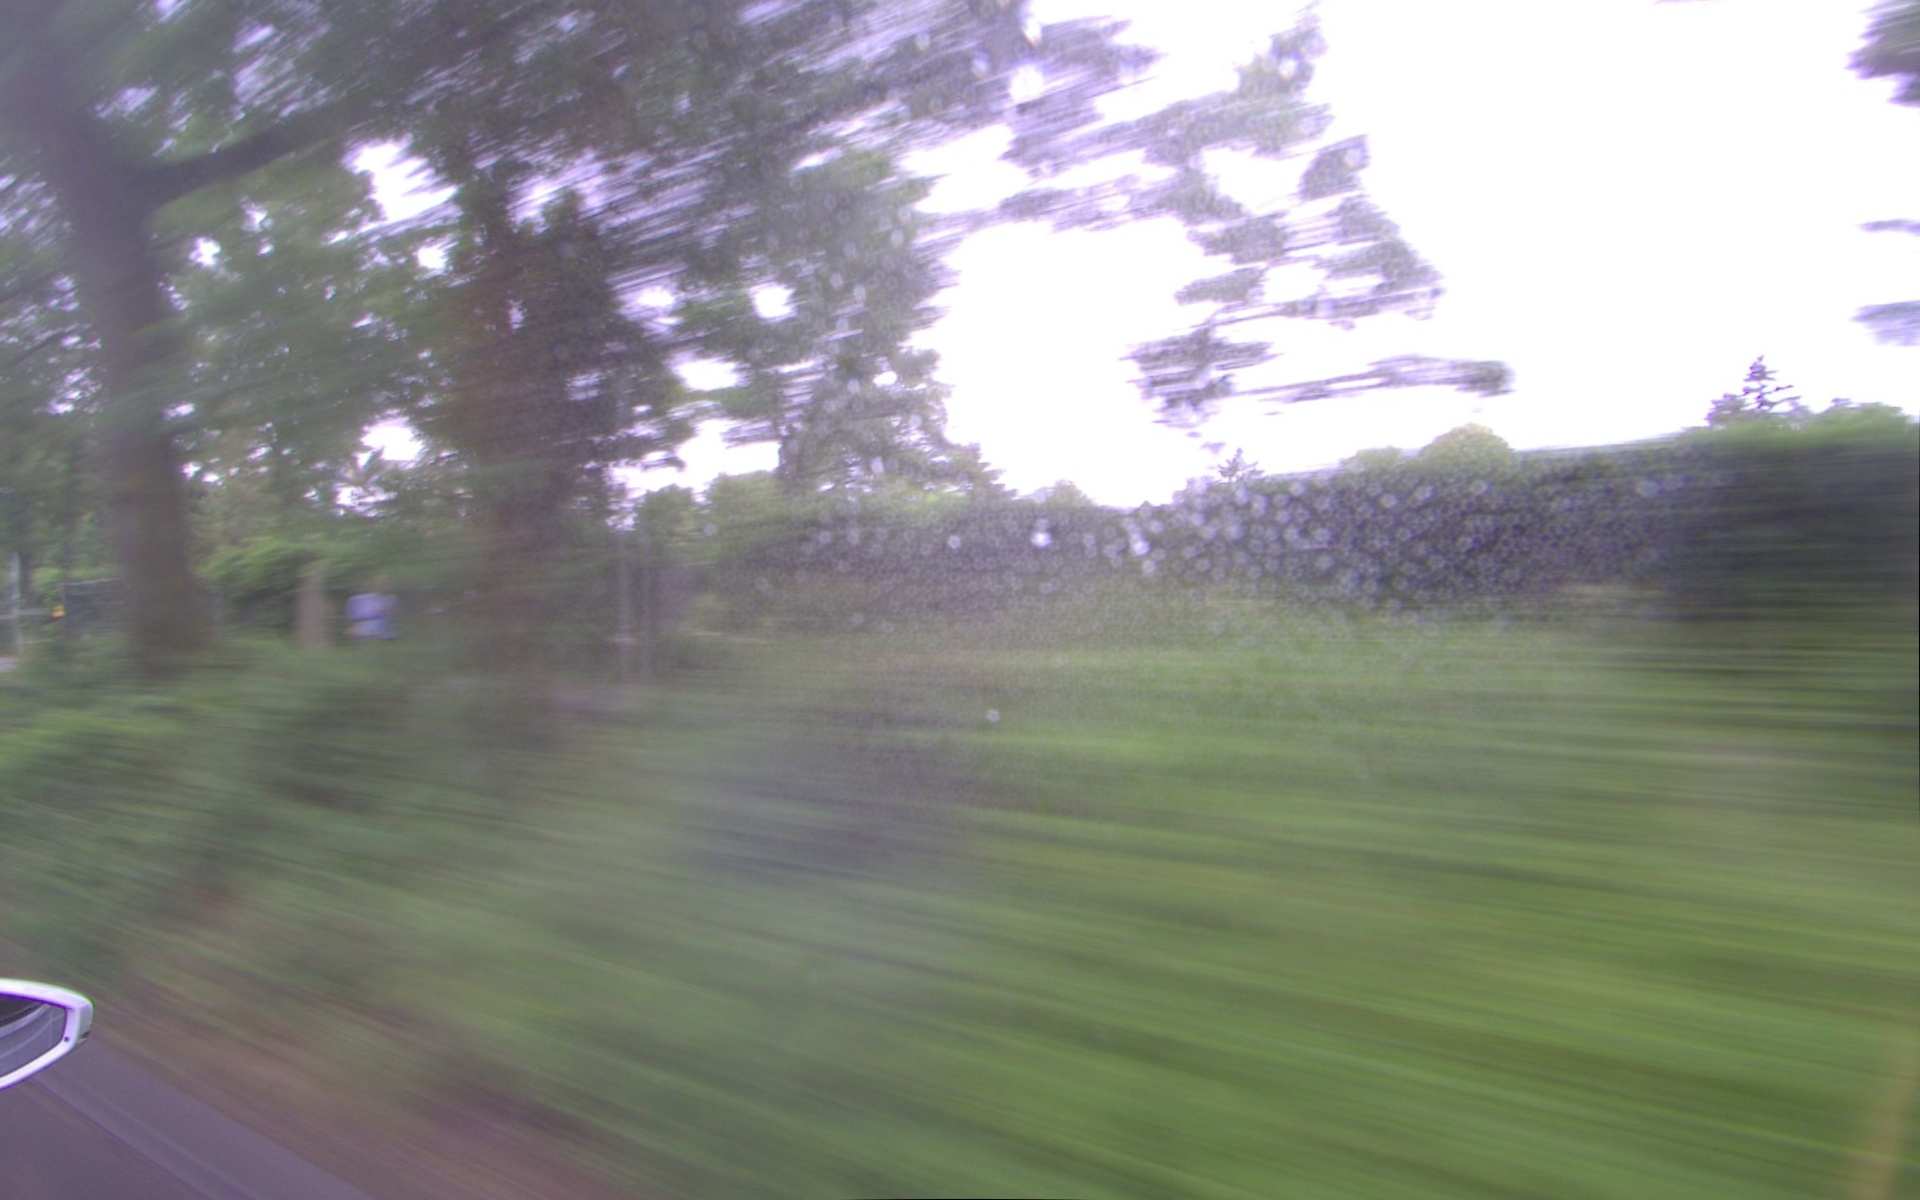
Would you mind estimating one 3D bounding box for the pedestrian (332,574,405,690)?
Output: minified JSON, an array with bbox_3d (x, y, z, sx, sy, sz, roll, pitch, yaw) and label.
[{"bbox_3d":[-8.756,0.458,14.821,0.808,1.674,0.571,0,2,32],"label":"pedestrian"}]
